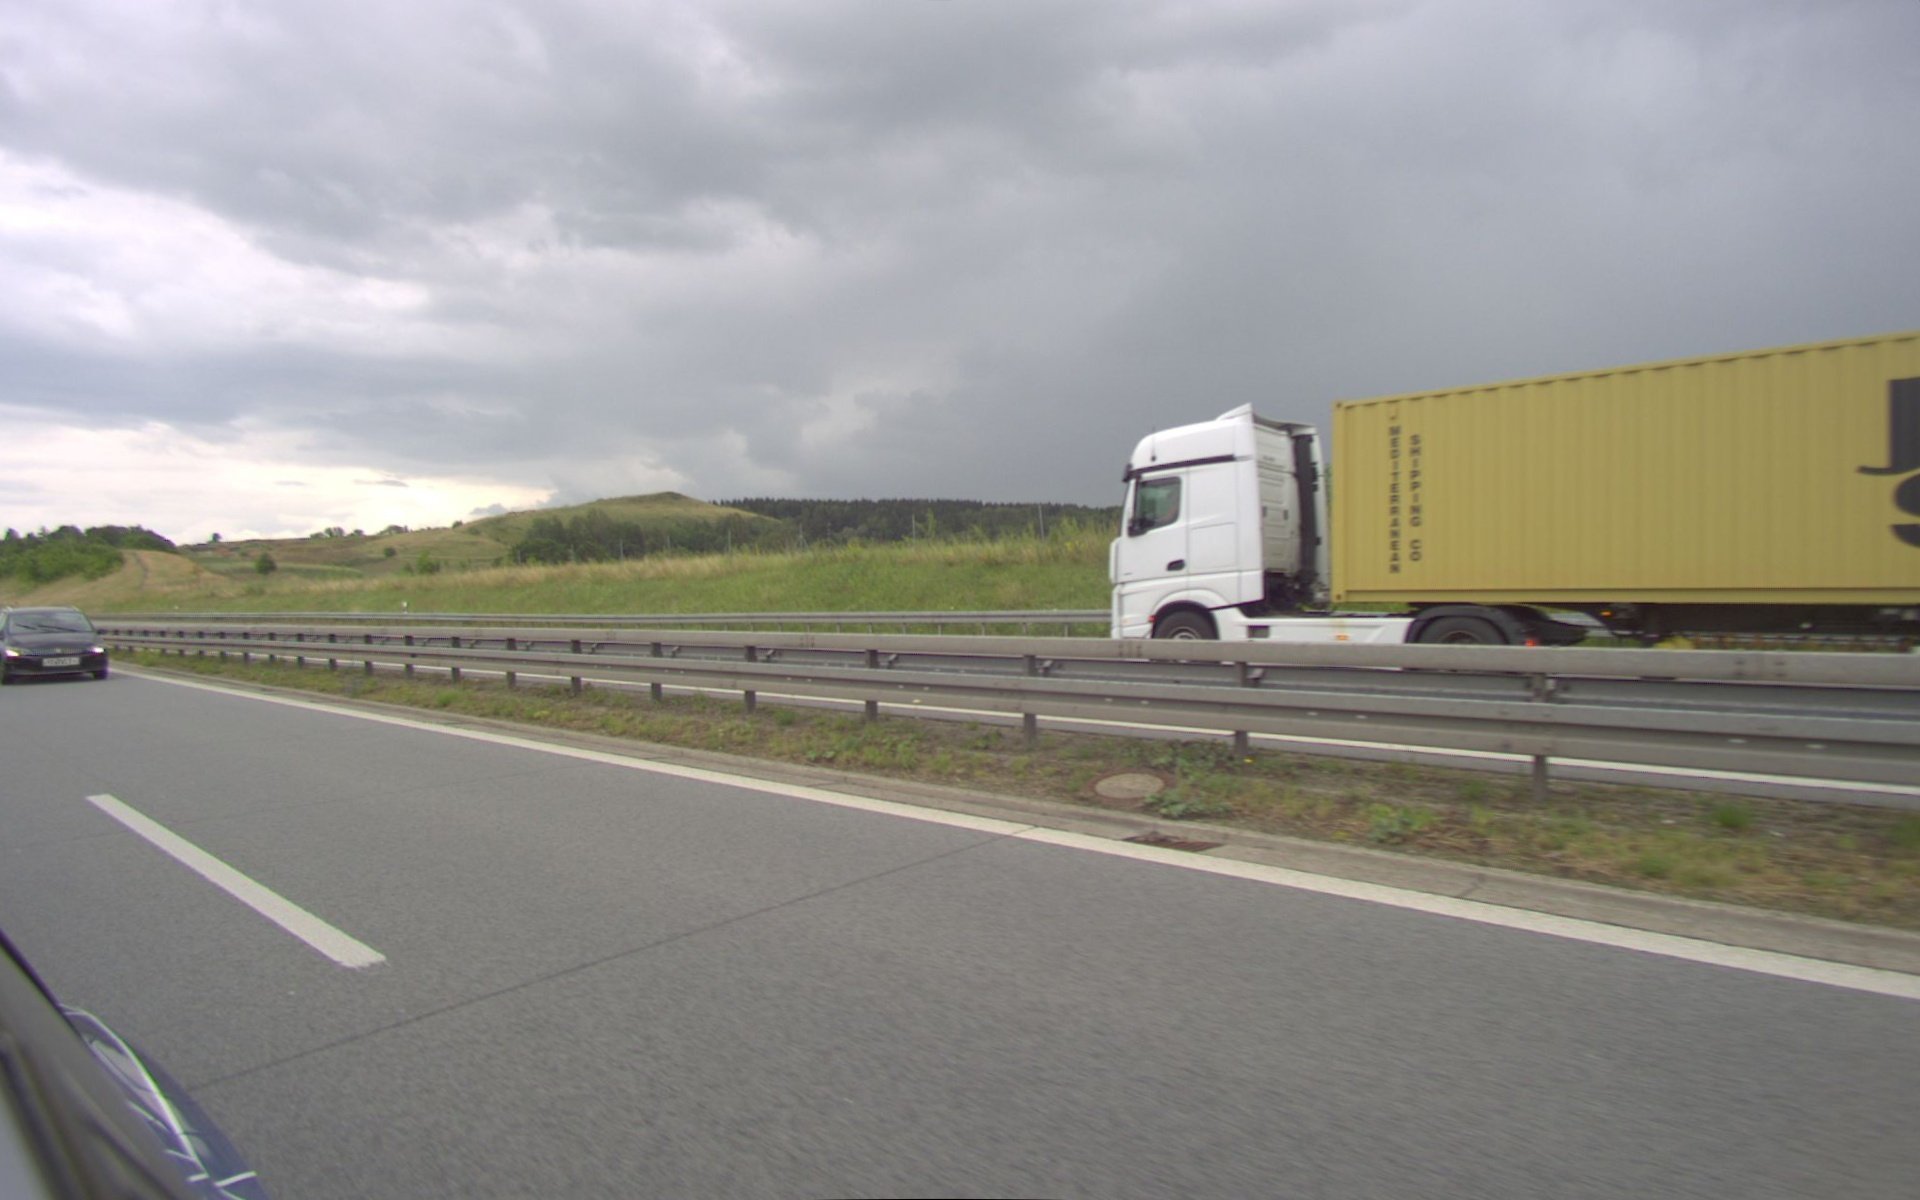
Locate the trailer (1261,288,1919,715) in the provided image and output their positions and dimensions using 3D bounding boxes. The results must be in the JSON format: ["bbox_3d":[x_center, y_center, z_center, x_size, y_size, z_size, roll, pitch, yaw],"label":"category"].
[{"bbox_3d":[10.086,-0.936,10.071,13.692,3.955,2.563,-1,0,41],"label":"trailer"}]

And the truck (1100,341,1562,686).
[{"bbox_3d":[5.089,-0.966,14.398,5.584,3.955,2.566,-1,0,41],"label":"truck"}]

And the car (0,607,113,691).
[{"bbox_3d":[-21.104,1.037,23.183,5.395,1.683,1.876,-1,0,42],"label":"car"}]
